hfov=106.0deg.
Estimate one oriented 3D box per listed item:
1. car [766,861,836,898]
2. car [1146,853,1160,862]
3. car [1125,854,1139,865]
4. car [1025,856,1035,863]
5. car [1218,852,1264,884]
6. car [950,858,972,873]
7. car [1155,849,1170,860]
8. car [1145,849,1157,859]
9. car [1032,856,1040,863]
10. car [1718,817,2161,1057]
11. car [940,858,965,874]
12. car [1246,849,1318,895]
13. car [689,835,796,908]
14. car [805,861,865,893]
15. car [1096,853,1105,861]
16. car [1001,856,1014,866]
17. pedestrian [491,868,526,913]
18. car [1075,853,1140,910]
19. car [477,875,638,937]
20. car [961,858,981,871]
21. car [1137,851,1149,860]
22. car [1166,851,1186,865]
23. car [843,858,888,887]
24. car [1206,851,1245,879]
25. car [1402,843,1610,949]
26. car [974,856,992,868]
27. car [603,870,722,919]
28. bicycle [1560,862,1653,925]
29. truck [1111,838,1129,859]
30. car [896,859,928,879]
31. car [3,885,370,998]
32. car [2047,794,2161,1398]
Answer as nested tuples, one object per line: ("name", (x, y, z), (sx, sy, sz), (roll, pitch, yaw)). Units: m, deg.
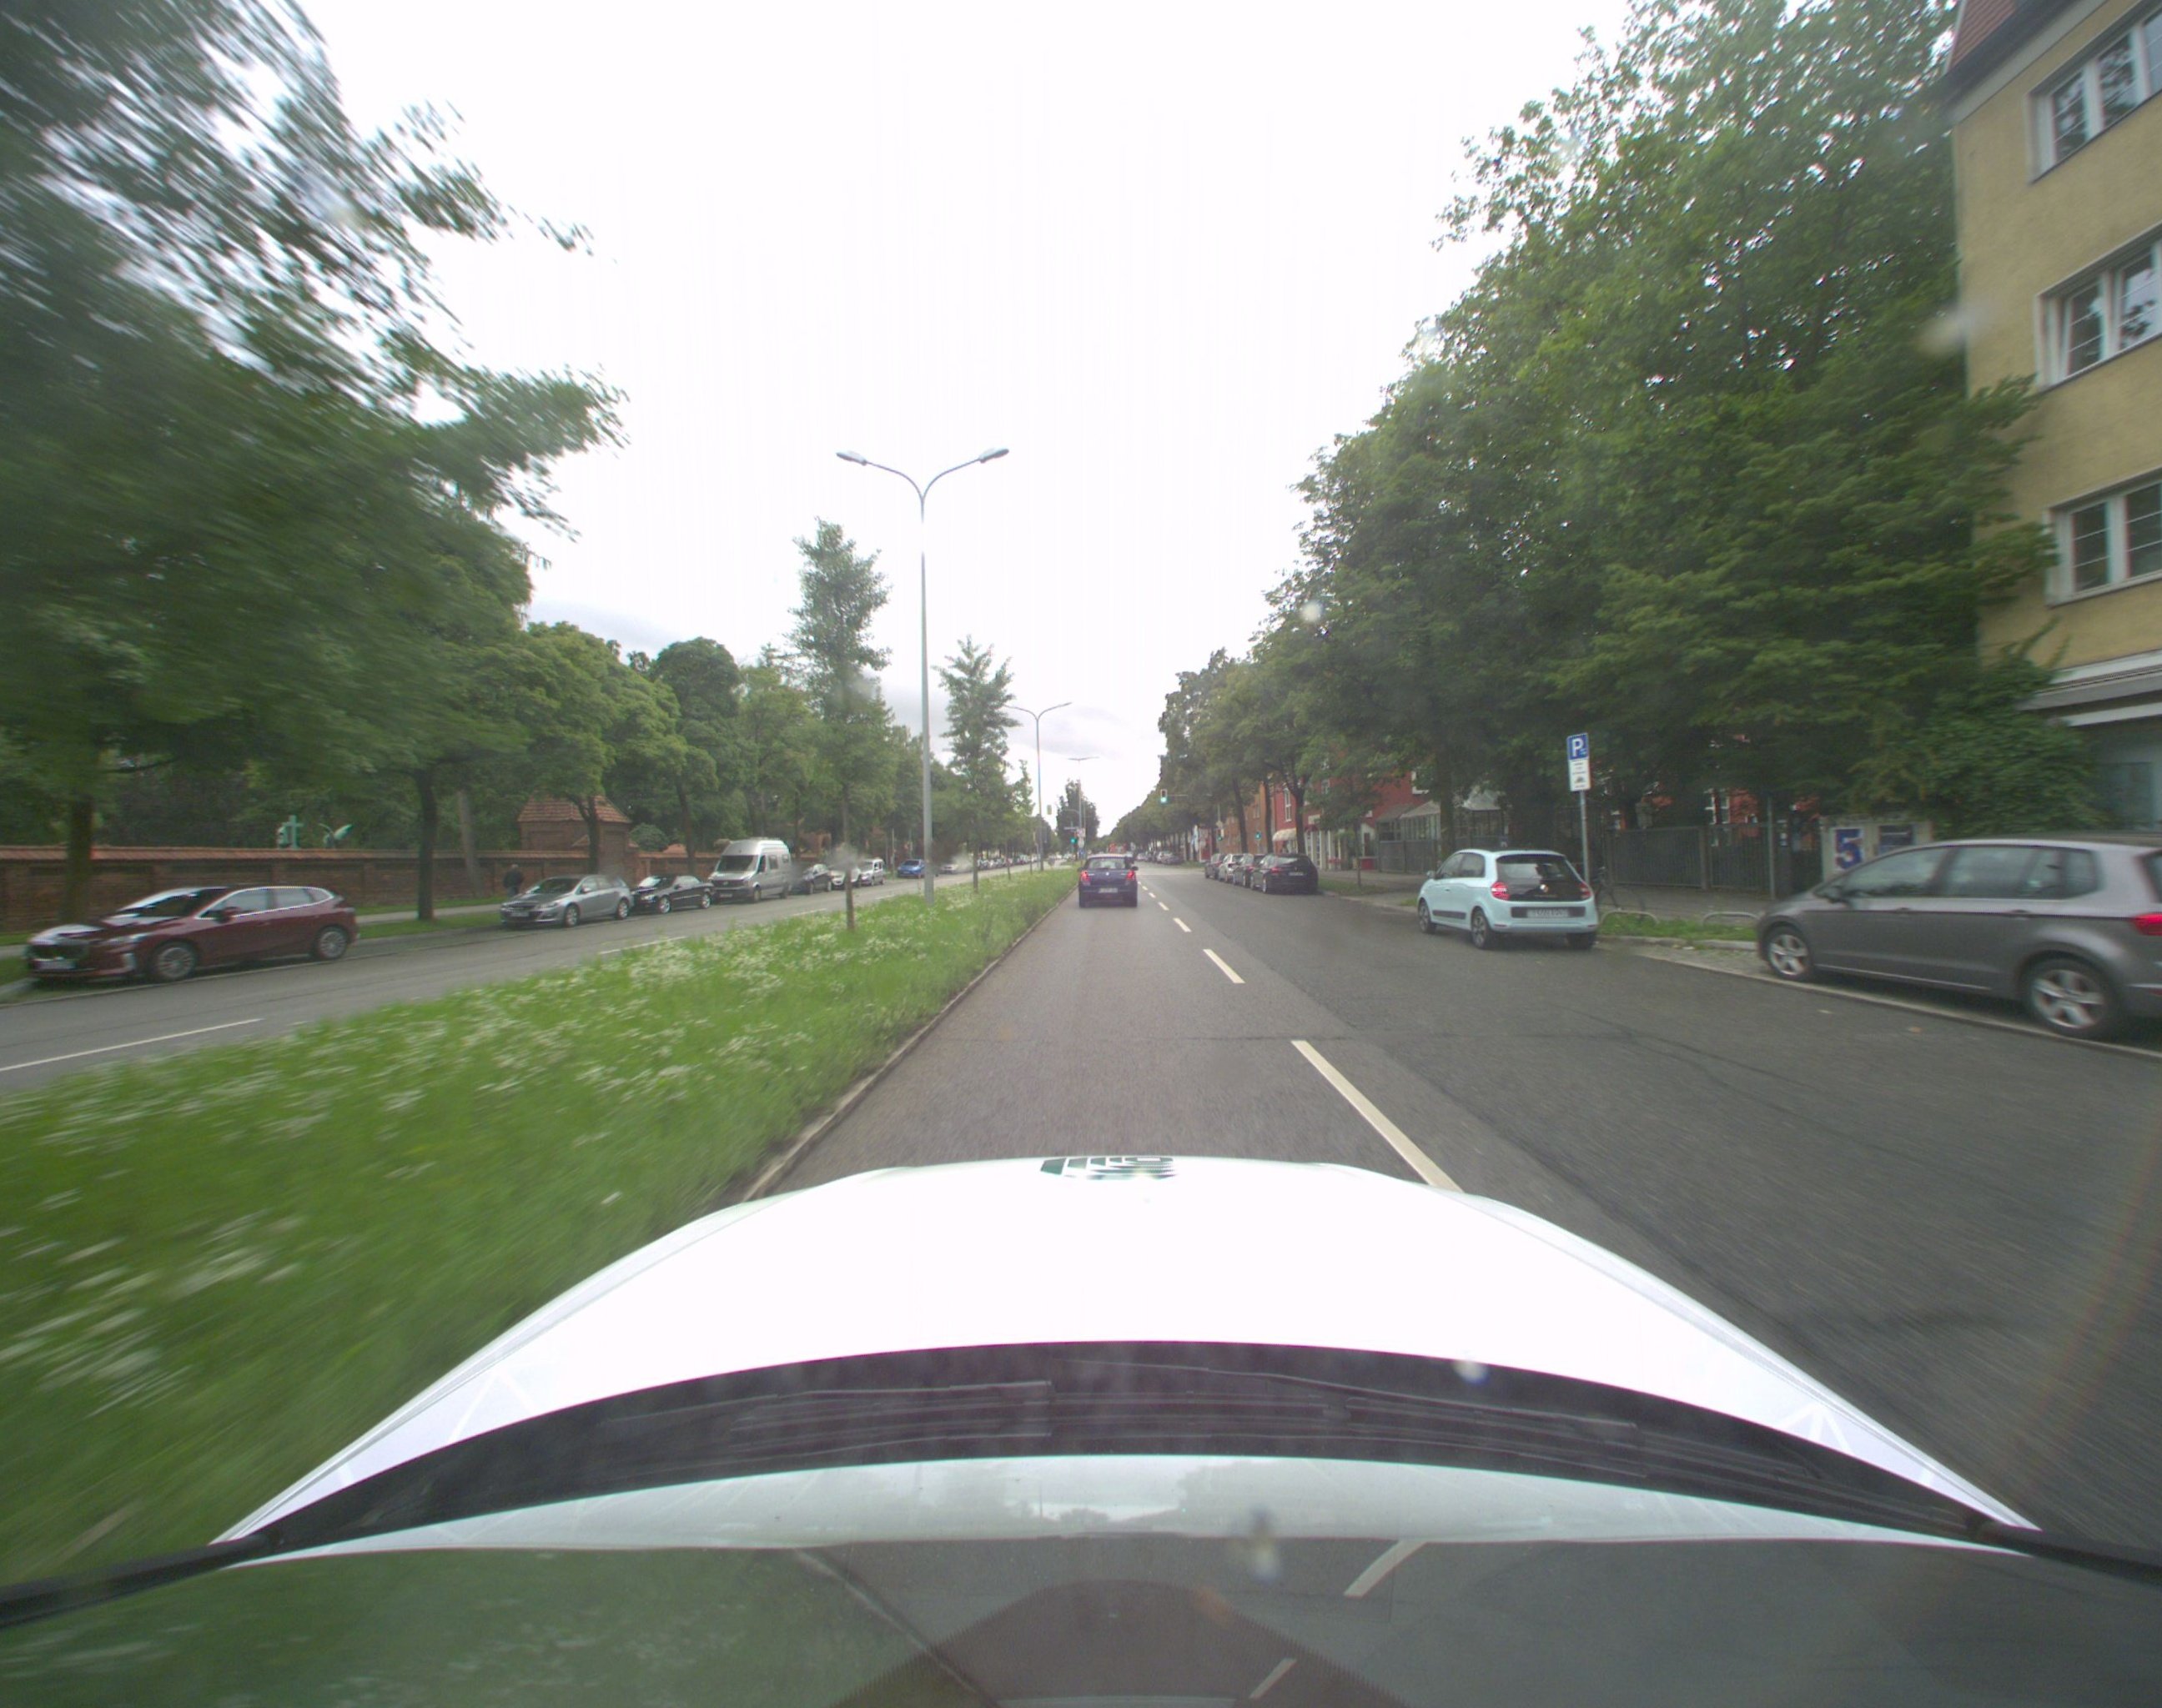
("car", (-14.862, 1.312, 43.519), (2.179, 1.736, 4.577), (-1, 0, -1))
("car", (12.148, 0.562, 137.672), (1.986, 1.530, 4.002), (-2, 0, 2))
("car", (7.229, 0.759, 116.181), (1.814, 1.477, 4.693), (0, 0, 2))
("car", (-11.753, 1.179, 187.522), (1.795, 1.534, 4.002), (-2, 0, 2))
("car", (7.897, 0.665, 40.524), (1.688, 1.452, 4.127), (-2, 0, 4))
("car", (-13.542, 1.245, 92.009), (1.795, 1.534, 4.002), (-2, 0, 2))
("car", (12.523, 0.081, 125.276), (1.986, 1.530, 4.002), (-2, 0, 2))
("car", (12.236, -0.030, 142.467), (1.986, 1.530, 4.002), (-2, 0, 2))
("car", (-11.971, 1.435, 216.329), (1.795, 1.534, 4.002), (-2, 0, 2))
("car", (8.513, 0.540, 7.632), (1.808, 1.626, 4.311), (-3, 0, 3))
("car", (-13.462, 1.268, 85.427), (1.795, 1.534, 4.002), (-2, 0, 2))
("car", (7.372, 0.599, 30.324), (1.647, 1.452, 4.711), (-3, 0, 3))
("car", (-14.912, 0.714, 36.364), (2.179, 2.953, 6.190), (-1, 0, 0))
("car", (-14.656, 1.327, 48.774), (2.179, 1.736, 4.577), (-1, 0, -1))
("car", (3.788, 0.638, 156.669), (1.712, 1.500, 4.302), (-1, 0, 2))
("car", (-12.648, 1.194, 140.701), (1.795, 1.534, 4.002), (-2, 0, 2))
("pedestrian", (-20.657, 1.293, 29.379), (0.766, 1.567, 0.800), (-2, 0, 38))
("car", (0.820, 0.750, 24.420), (1.746, 1.504, 4.003), (-2, 0, 3))
("car", (-15.384, 1.460, 24.271), (1.807, 1.536, 4.442), (-1, 0, 1))
("car", (-13.692, 1.244, 101.694), (1.795, 1.534, 4.002), (-2, 0, 2))
("car", (12.259, 0.285, 161.082), (1.986, 1.530, 4.002), (-2, 0, 2))
("car", (11.258, 0.466, 96.457), (1.986, 1.530, 4.002), (-2, 0, 2))
("car", (-14.279, 1.198, 54.189), (1.700, 1.733, 4.002), (-2, 0, 2))
("car", (7.998, 0.580, 45.432), (1.688, 1.452, 4.127), (-2, 0, 4))
("car", (6.944, 0.594, 13.799), (1.646, 1.452, 4.005), (-3, 0, 4))
("car", (-13.133, 1.041, 109.087), (1.795, 1.534, 4.002), (-2, 0, 2))
("car", (-15.251, 1.413, 30.013), (1.807, 1.536, 4.820), (-1, 0, 1))
("bicycle", (8.921, 0.644, 13.894), (0.446, 0.980, 1.799), (-2, 0, 2))
("truck", (7.131, -1.024, 147.374), (3.029, 3.557, 13.684), (-1, 0, 3))
("car", (-14.143, 1.253, 68.277), (1.700, 1.534, 4.002), (-2, 0, 2))
("car", (-15.694, 1.429, 14.727), (1.807, 1.536, 4.299), (-1, 0, 1))
("car", (3.470, 0.595, 0.519), (1.681, 1.490, 3.435), (-1, 0, 1))
